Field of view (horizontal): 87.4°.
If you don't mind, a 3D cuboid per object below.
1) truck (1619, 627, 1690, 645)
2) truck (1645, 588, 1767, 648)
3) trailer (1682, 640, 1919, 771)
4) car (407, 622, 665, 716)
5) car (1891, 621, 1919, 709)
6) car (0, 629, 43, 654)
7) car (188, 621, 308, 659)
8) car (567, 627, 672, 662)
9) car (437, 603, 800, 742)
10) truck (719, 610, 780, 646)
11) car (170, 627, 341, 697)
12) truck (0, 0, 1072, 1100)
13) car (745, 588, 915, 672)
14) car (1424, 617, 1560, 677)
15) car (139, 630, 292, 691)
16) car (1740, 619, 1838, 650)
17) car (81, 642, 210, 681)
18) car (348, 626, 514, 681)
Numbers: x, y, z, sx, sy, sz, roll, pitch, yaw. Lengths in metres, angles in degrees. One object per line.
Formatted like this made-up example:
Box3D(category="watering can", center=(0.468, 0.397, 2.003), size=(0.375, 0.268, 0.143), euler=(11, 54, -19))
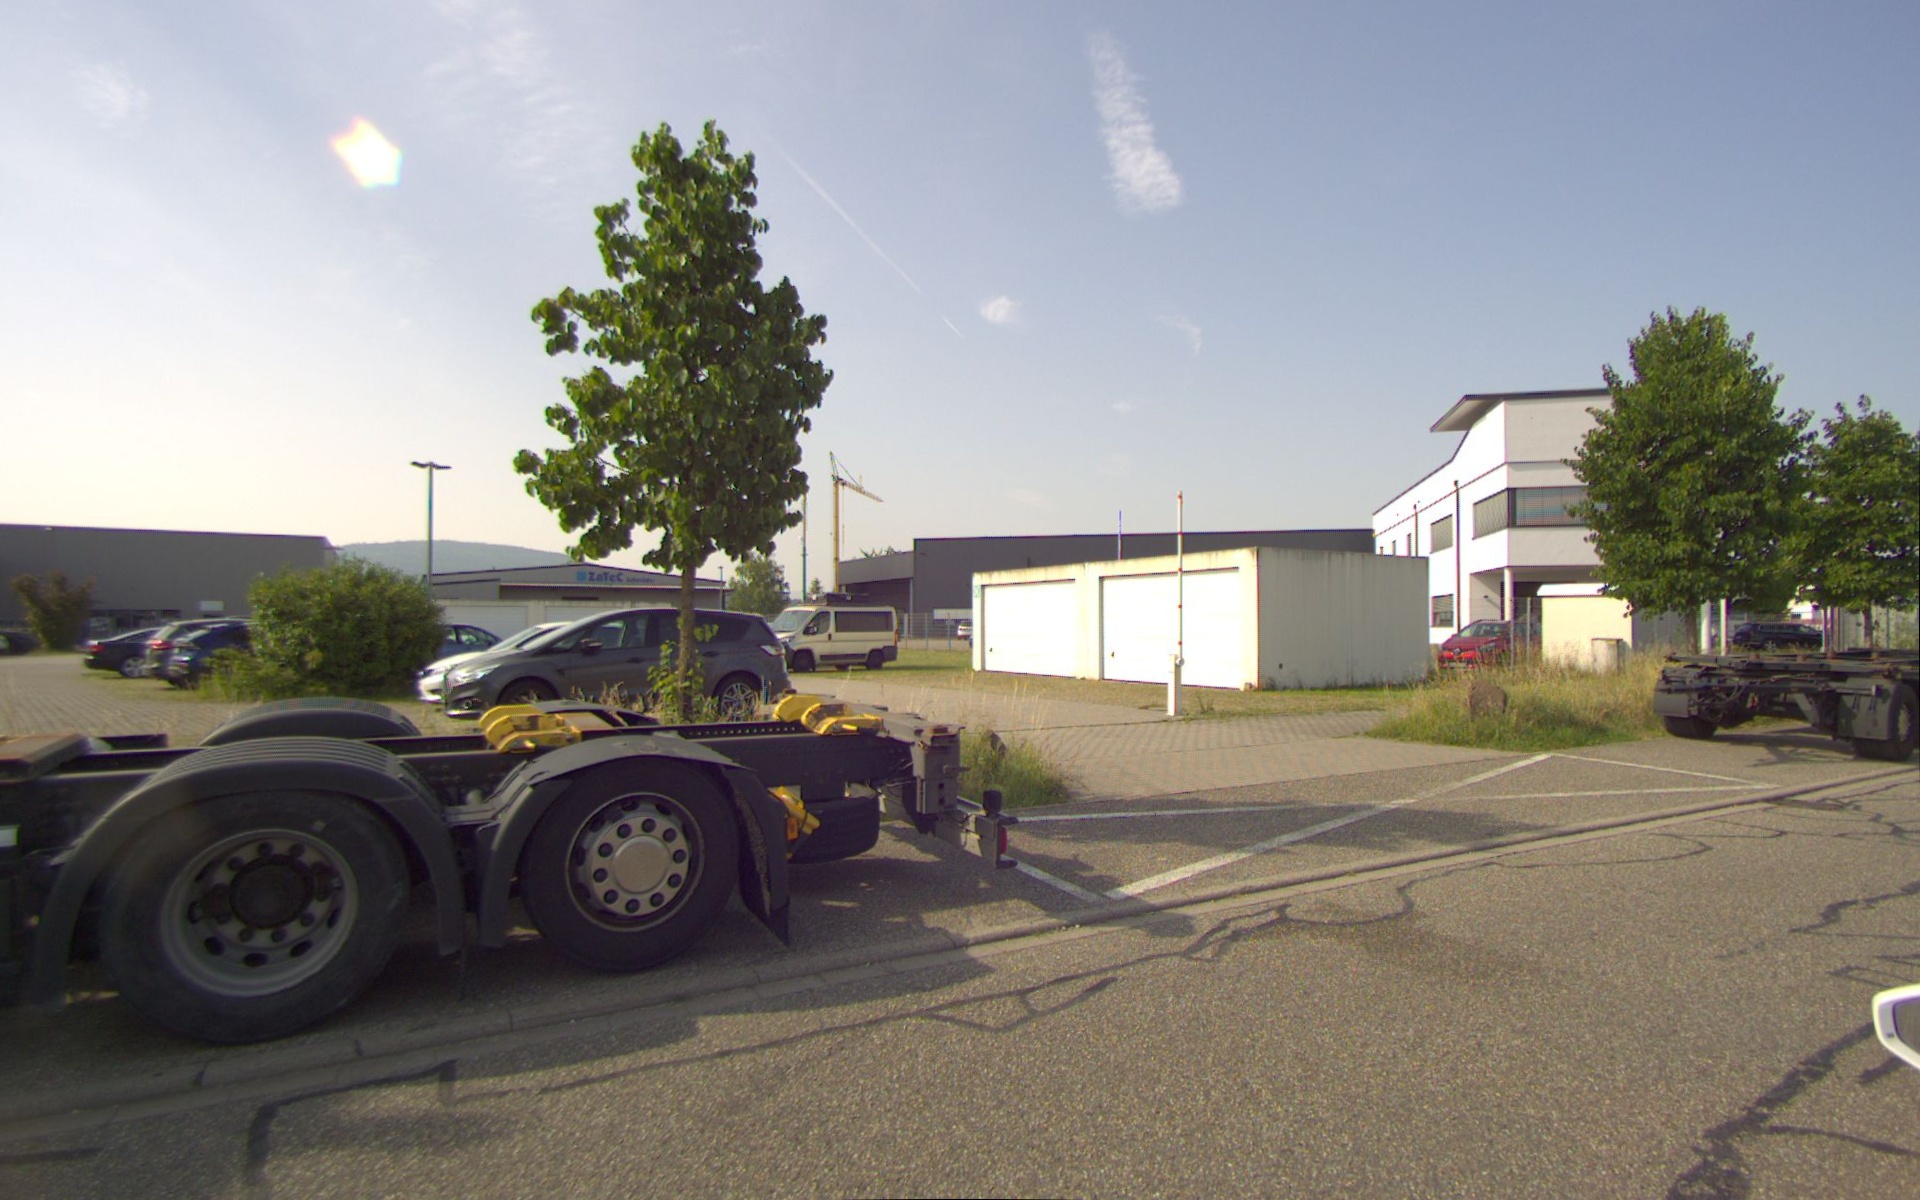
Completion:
Box3D(category="truck", center=(56.073, 2.892, 81.266), size=(2.481, 1.282, 6.530), euler=(0, -1, 14))
Box3D(category="truck", center=(53.994, 1.373, 73.233), size=(2.582, 3.981, 12.925), euler=(0, -1, 15))
Box3D(category="trailer", center=(12.869, 1.274, 13.857), size=(7.074, 1.249, 2.119), euler=(0, 0, -31))
Box3D(category="car", center=(-7.706, 1.195, 18.379), size=(4.166, 1.536, 1.696), euler=(1, -2, -32))
Box3D(category="car", center=(18.601, 1.133, 17.732), size=(4.380, 1.486, 1.984), euler=(0, 0, -30))
Box3D(category="car", center=(-44.780, 1.954, 46.997), size=(2.691, 1.156, 1.078), euler=(2, -3, -39))
Box3D(category="car", center=(-31.801, 1.796, 45.032), size=(4.099, 1.634, 1.834), euler=(2, -2, -27))
Box3D(category="car", center=(-15.049, 1.971, 44.492), size=(4.121, 1.500, 1.560), euler=(2, -3, -42))
Box3D(category="car", center=(-4.840, 0.943, 14.450), size=(4.647, 1.709, 1.983), euler=(1, -2, -32))
Box3D(category="truck", center=(-15.182, 2.013, 72.389), size=(3.946, 2.547, 1.988), euler=(1, -1, -25))
Box3D(category="car", center=(-15.297, 1.310, 21.893), size=(1.175, 1.407, 2.845), euler=(-1, -2, 42))
Box3D(category="truck", center=(-4.263, -0.427, 3.817), size=(9.685, 3.933, 2.444), euler=(2, 0, -30))
Box3D(category="car", center=(-4.245, 1.021, 33.477), size=(5.419, 2.580, 2.033), euler=(2, -3, -42))
Box3D(category="car", center=(15.351, 1.309, 28.916), size=(4.262, 1.545, 1.758), euler=(0, -1, -36))
Box3D(category="car", center=(-17.284, 1.373, 23.382), size=(1.175, 1.331, 2.699), euler=(-1, -2, 42))
Box3D(category="car", center=(41.719, 1.716, 50.624), size=(3.433, 1.473, 1.598), euler=(1, -1, 12))
Box3D(category="car", center=(-22.247, 1.660, 27.519), size=(2.691, 1.007, 1.078), euler=(2, -3, -39))
Box3D(category="car", center=(-15.347, 1.511, 29.235), size=(3.970, 1.461, 1.878), euler=(2, -2, -42))
